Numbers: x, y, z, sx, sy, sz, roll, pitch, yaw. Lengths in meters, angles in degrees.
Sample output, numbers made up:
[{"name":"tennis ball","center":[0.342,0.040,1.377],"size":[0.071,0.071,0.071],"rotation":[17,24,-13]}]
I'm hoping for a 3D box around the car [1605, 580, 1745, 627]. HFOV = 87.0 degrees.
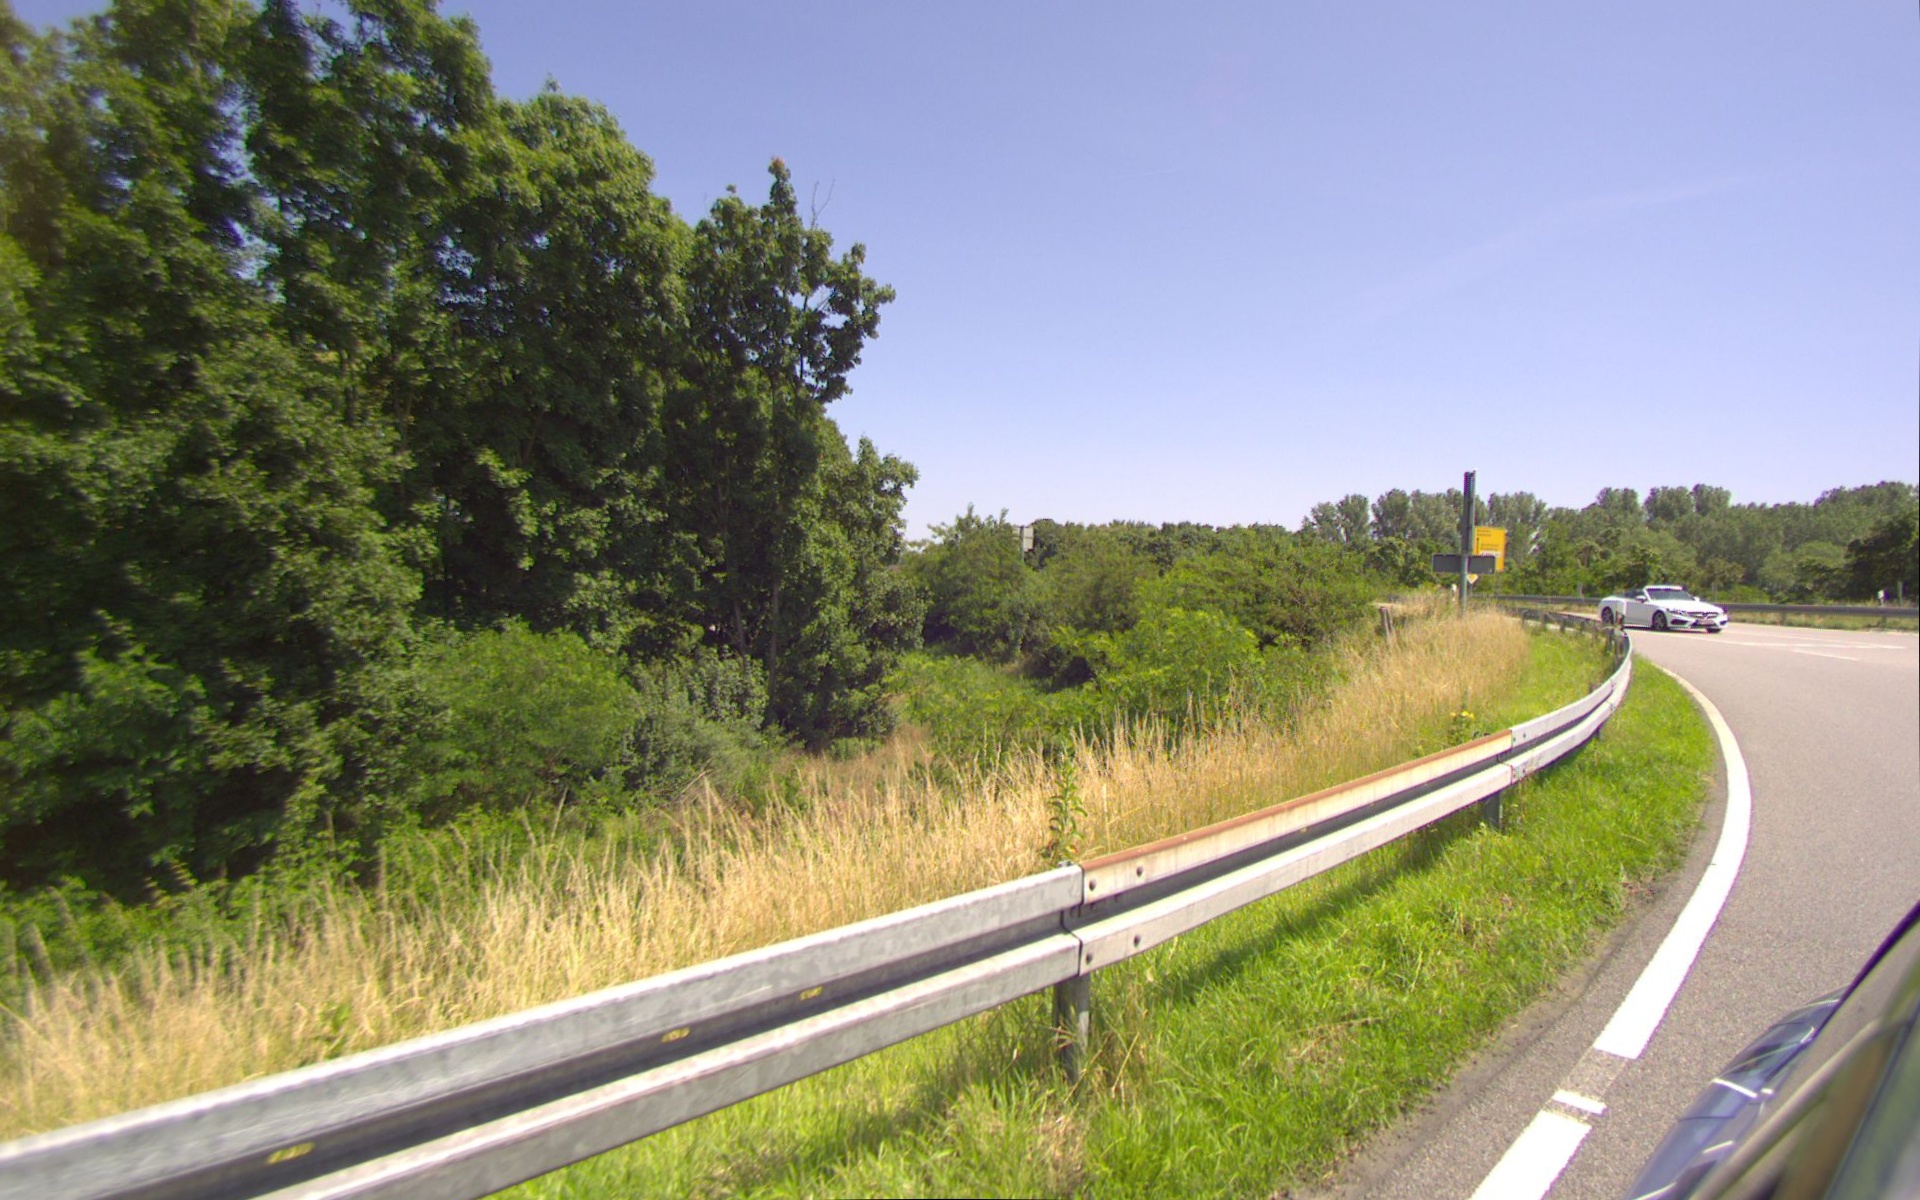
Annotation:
[{"name":"car","center":[23.074,0.073,32.857],"size":[1.781,1.433,4.107],"rotation":[1,1,3]}]
